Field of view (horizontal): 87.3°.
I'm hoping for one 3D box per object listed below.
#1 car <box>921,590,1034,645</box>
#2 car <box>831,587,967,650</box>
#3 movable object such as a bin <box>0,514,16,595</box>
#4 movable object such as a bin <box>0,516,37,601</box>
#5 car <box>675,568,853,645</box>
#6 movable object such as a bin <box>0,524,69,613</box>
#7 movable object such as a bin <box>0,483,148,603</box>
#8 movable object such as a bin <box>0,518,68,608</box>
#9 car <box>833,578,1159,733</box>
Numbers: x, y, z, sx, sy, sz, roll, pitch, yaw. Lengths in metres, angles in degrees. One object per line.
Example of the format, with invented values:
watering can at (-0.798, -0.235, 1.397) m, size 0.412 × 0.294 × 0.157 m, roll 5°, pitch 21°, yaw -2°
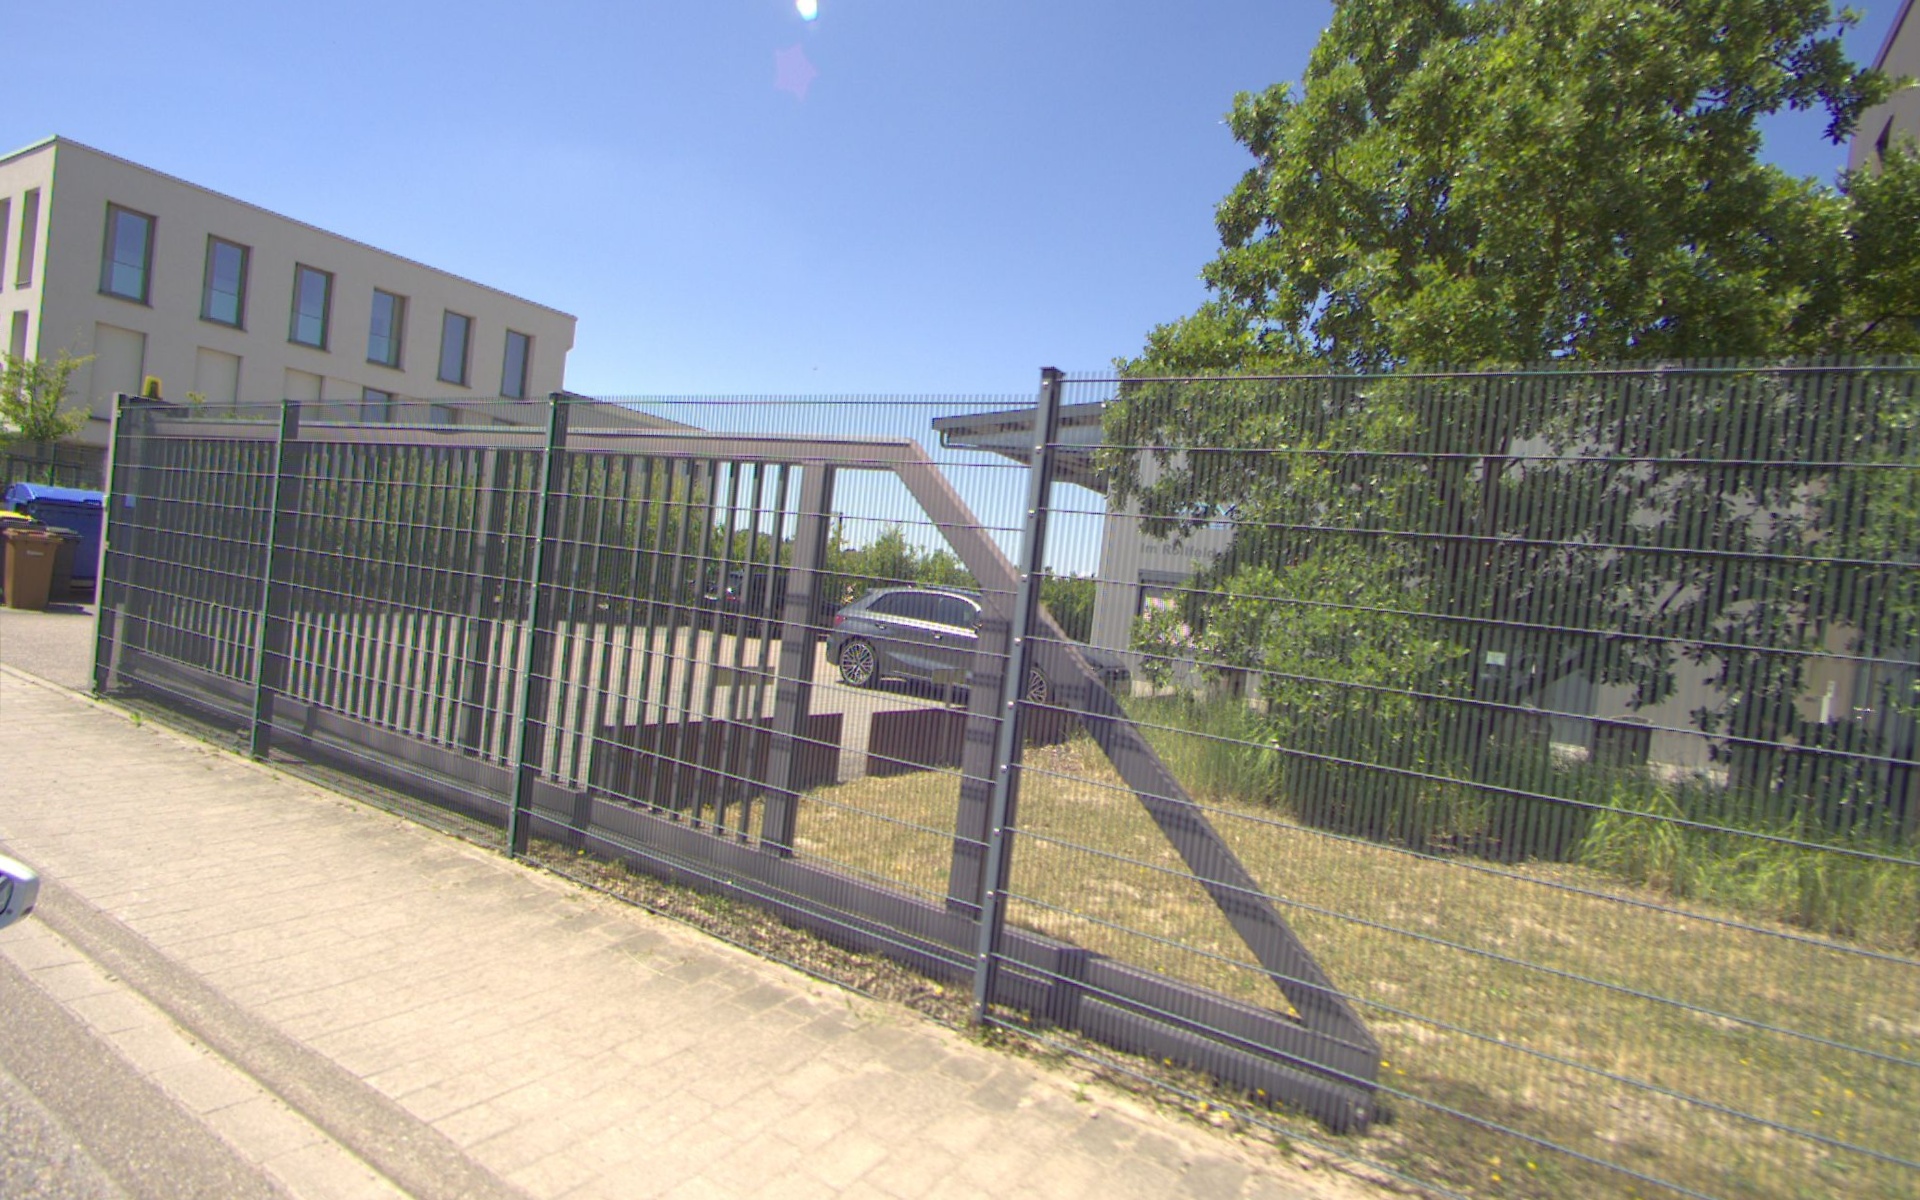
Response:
car at (0.630, 0.607, 33.104) m, size 1.763 × 1.372 × 3.990 m, roll 8°, pitch 0°, yaw 33°
car at (-1.659, 0.563, 28.762) m, size 1.763 × 1.372 × 3.990 m, roll 8°, pitch 0°, yaw 33°
movable object such as a bin at (-13.019, -0.644, 13.286) m, size 0.898 × 1.049 × 0.543 m, roll 7°, pitch 2°, yaw 32°
movable object such as a bin at (-12.349, -0.550, 12.868) m, size 0.640 × 1.049 × 0.604 m, roll 7°, pitch 2°, yaw 32°
car at (-4.551, 0.200, 23.894) m, size 1.763 × 1.372 × 3.990 m, roll 8°, pitch 0°, yaw 33°
movable object such as a bin at (-11.336, -0.383, 12.237) m, size 0.571 × 1.007 × 0.543 m, roll 7°, pitch 2°, yaw 31°
movable object such as a bin at (-12.413, -0.777, 14.066) m, size 0.933 × 1.478 × 1.335 m, roll 7°, pitch 1°, yaw 31°
movable object such as a bin at (-11.801, -0.471, 12.573) m, size 0.571 × 1.049 × 0.793 m, roll 7°, pitch 1°, yaw 31°
car at (0.427, 0.670, 13.417) m, size 3.934 × 1.462 × 1.656 m, roll 7°, pitch 1°, yaw 32°
